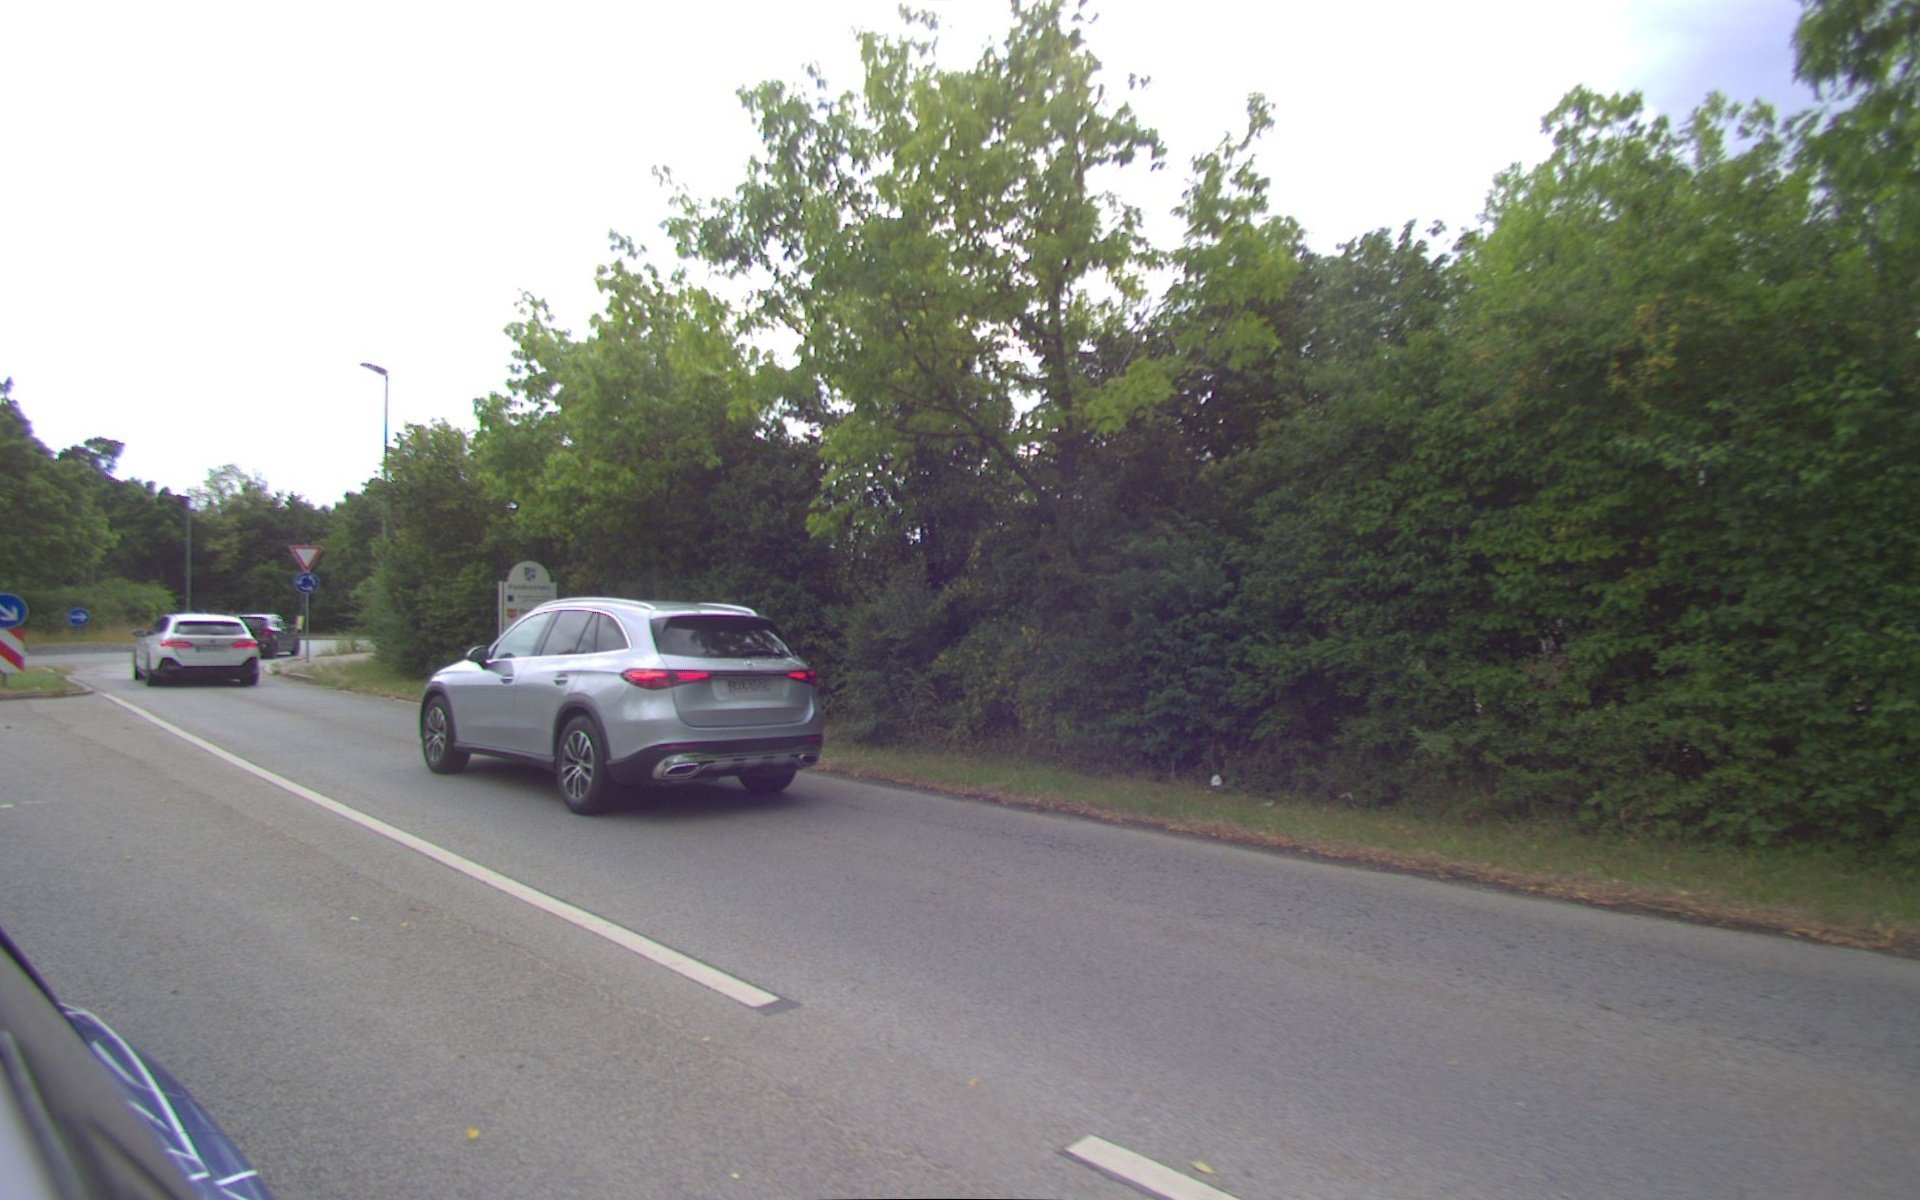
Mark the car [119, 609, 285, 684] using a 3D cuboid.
[{"bbox_3d":[-16.822,1.037,22.346,4.945,1.465,2.188,-2,-5,45],"label":"car"}]

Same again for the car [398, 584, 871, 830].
[{"bbox_3d":[-3.090,0.774,8.997,4.665,1.614,1.971,-1,-3,44],"label":"car"}]
